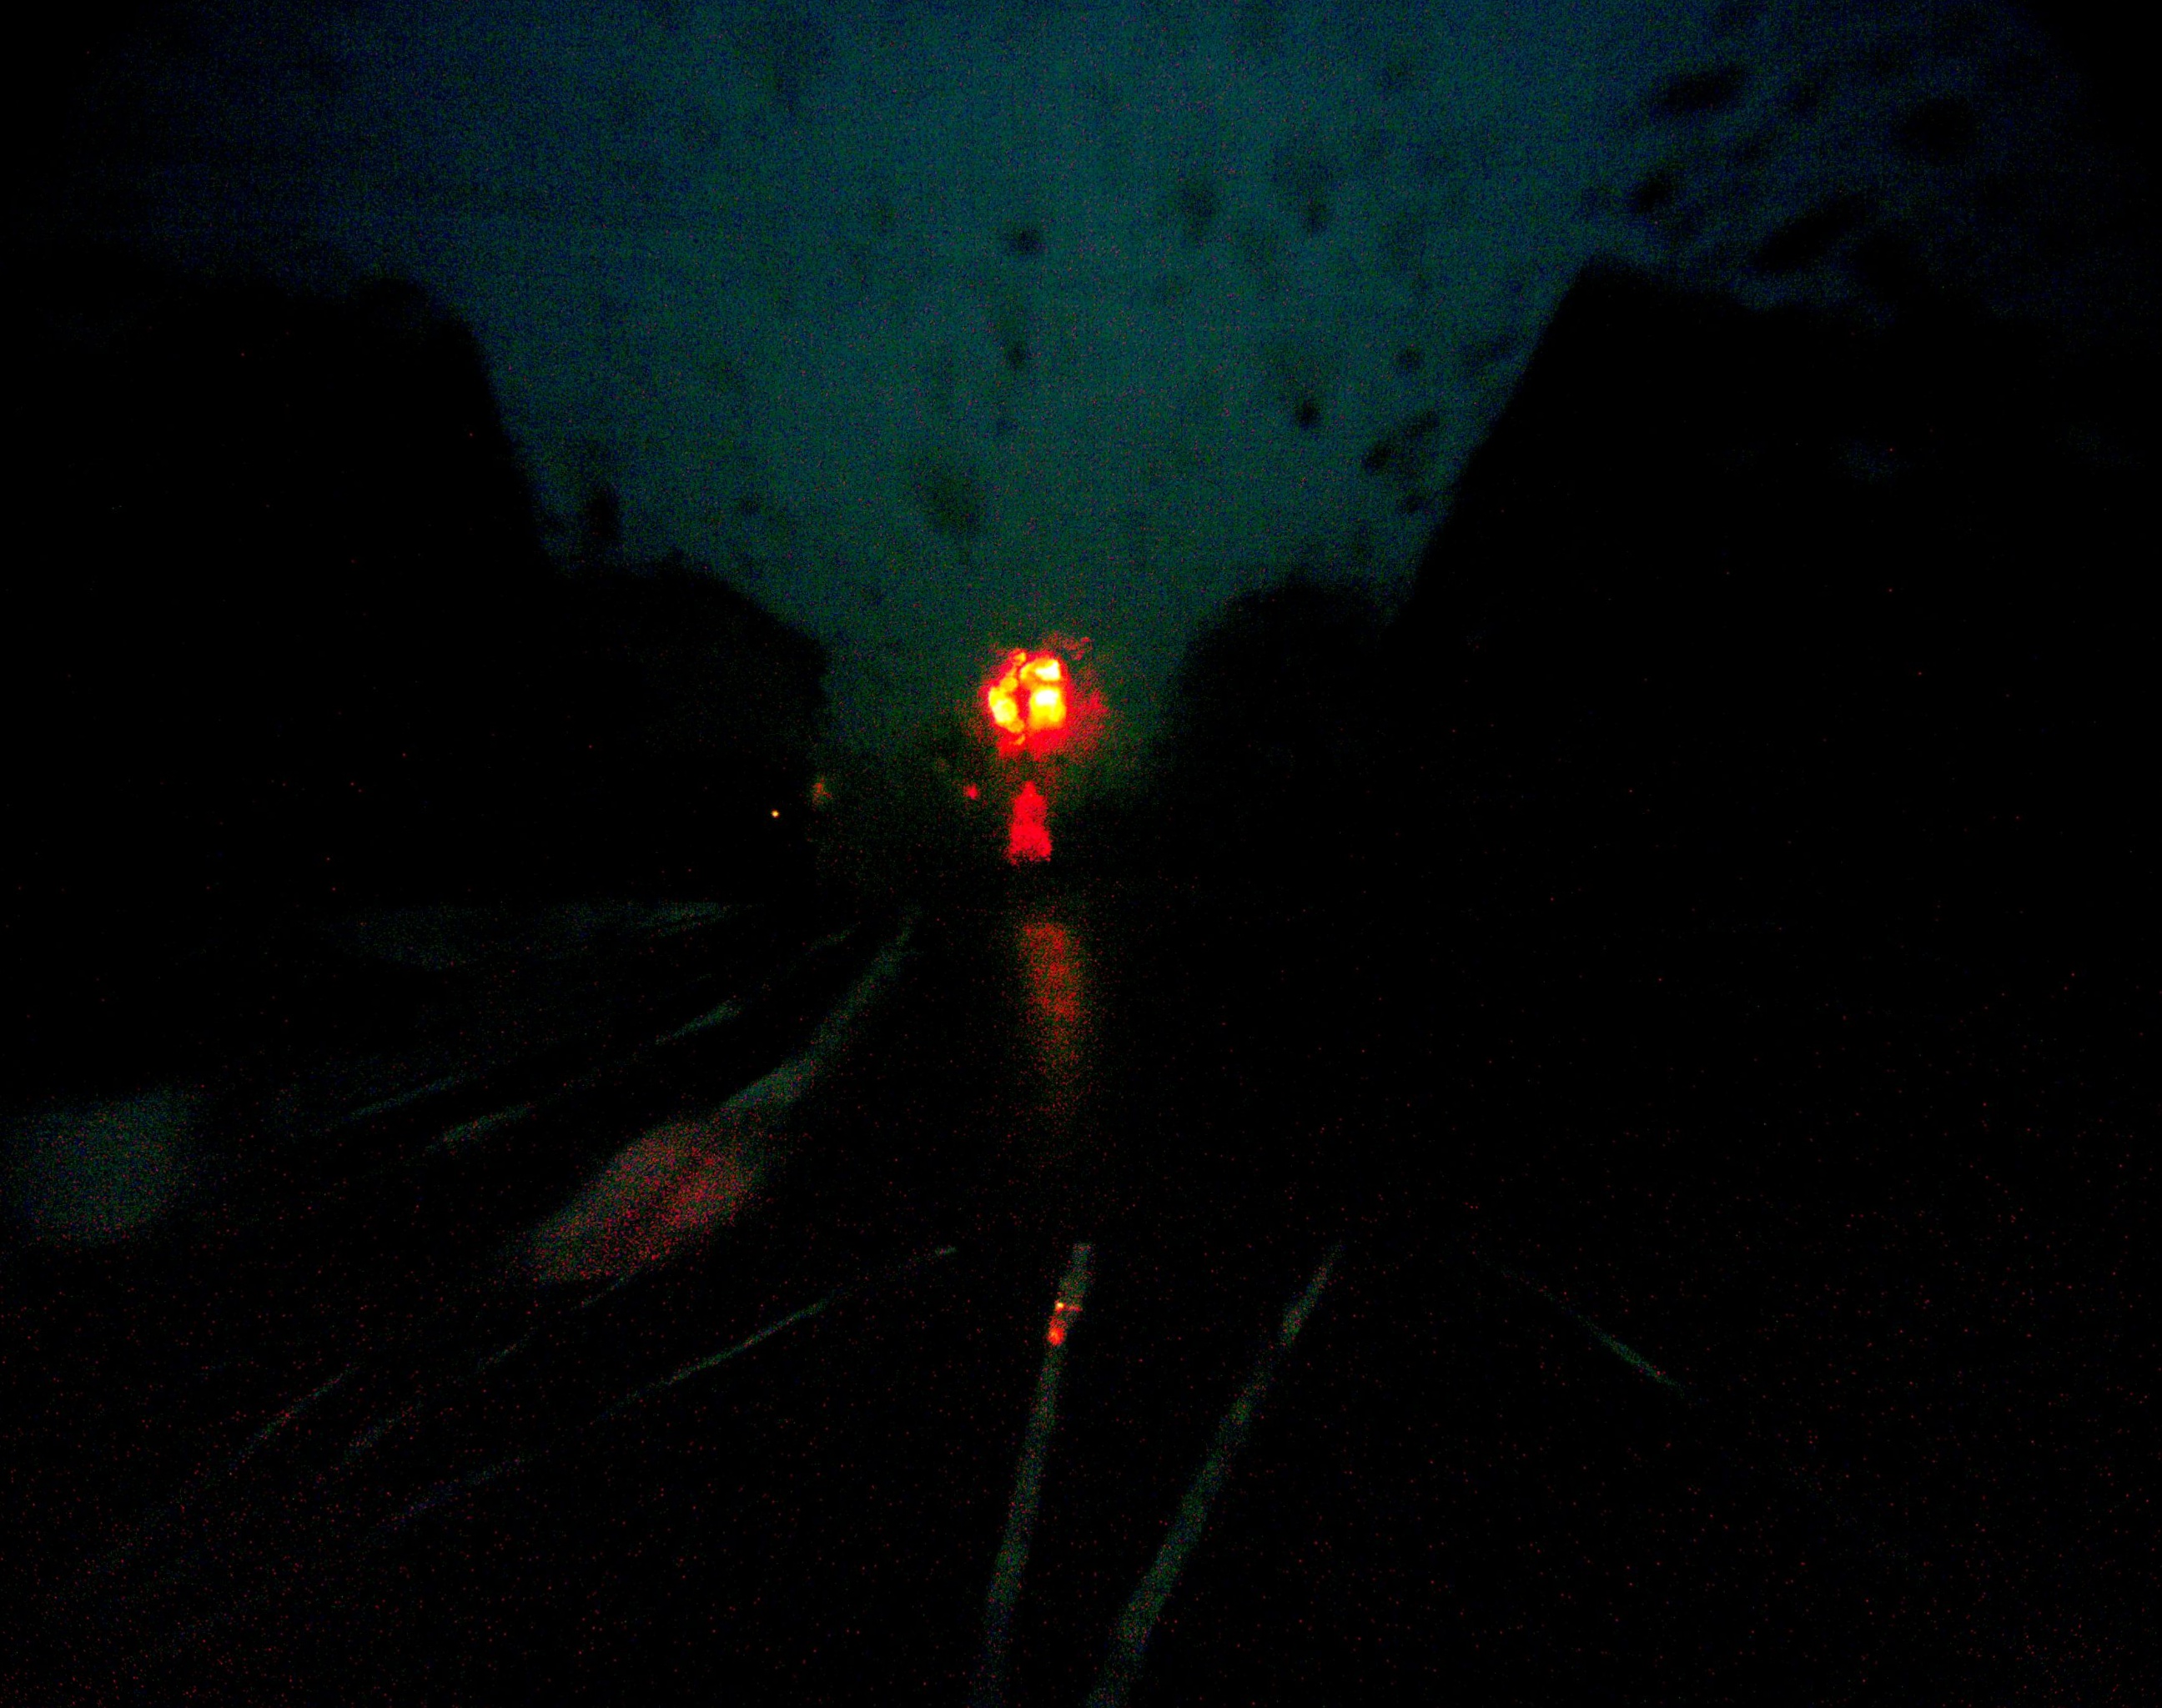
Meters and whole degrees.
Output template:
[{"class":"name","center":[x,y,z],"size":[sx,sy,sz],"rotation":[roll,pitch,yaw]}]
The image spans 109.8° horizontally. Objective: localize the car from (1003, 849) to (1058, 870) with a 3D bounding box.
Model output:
[{"class":"car","center":[-3.776,0.380,56.852],"size":[3.792,1.365,1.622],"rotation":[-2,2,-28]}]

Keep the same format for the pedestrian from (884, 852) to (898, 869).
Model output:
[{"class":"pedestrian","center":[-14.631,0.497,58.588],"size":[0.812,1.322,0.658],"rotation":[-3,2,-32]}]
